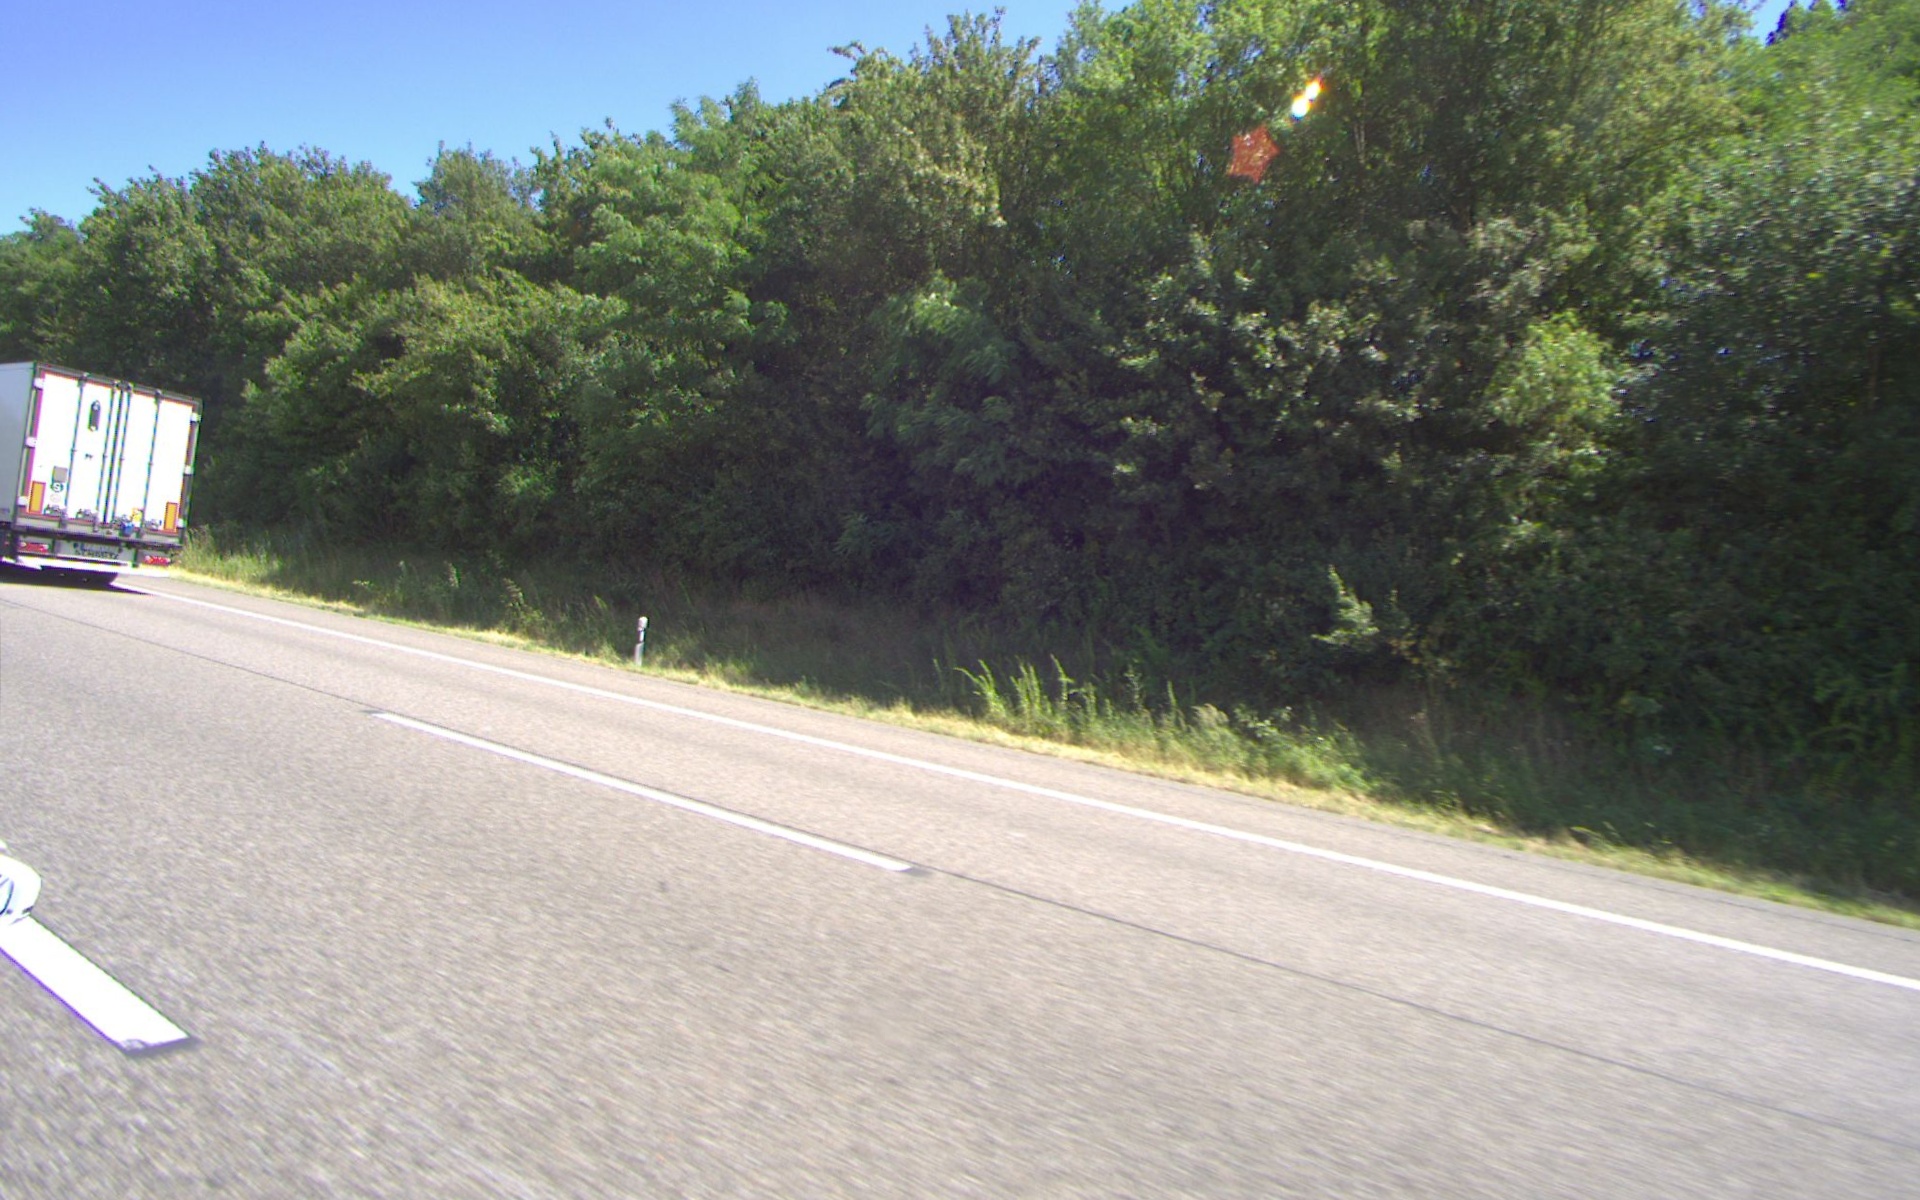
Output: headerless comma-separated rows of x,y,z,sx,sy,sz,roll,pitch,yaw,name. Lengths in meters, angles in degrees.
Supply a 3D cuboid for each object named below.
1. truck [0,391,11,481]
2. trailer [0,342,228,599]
-28.617,-3.770,26.778,5.947,4.265,3.053,7,-1,31,truck
-21.666,-2.961,22.578,13.603,4.274,3.045,7,-1,31,trailer
